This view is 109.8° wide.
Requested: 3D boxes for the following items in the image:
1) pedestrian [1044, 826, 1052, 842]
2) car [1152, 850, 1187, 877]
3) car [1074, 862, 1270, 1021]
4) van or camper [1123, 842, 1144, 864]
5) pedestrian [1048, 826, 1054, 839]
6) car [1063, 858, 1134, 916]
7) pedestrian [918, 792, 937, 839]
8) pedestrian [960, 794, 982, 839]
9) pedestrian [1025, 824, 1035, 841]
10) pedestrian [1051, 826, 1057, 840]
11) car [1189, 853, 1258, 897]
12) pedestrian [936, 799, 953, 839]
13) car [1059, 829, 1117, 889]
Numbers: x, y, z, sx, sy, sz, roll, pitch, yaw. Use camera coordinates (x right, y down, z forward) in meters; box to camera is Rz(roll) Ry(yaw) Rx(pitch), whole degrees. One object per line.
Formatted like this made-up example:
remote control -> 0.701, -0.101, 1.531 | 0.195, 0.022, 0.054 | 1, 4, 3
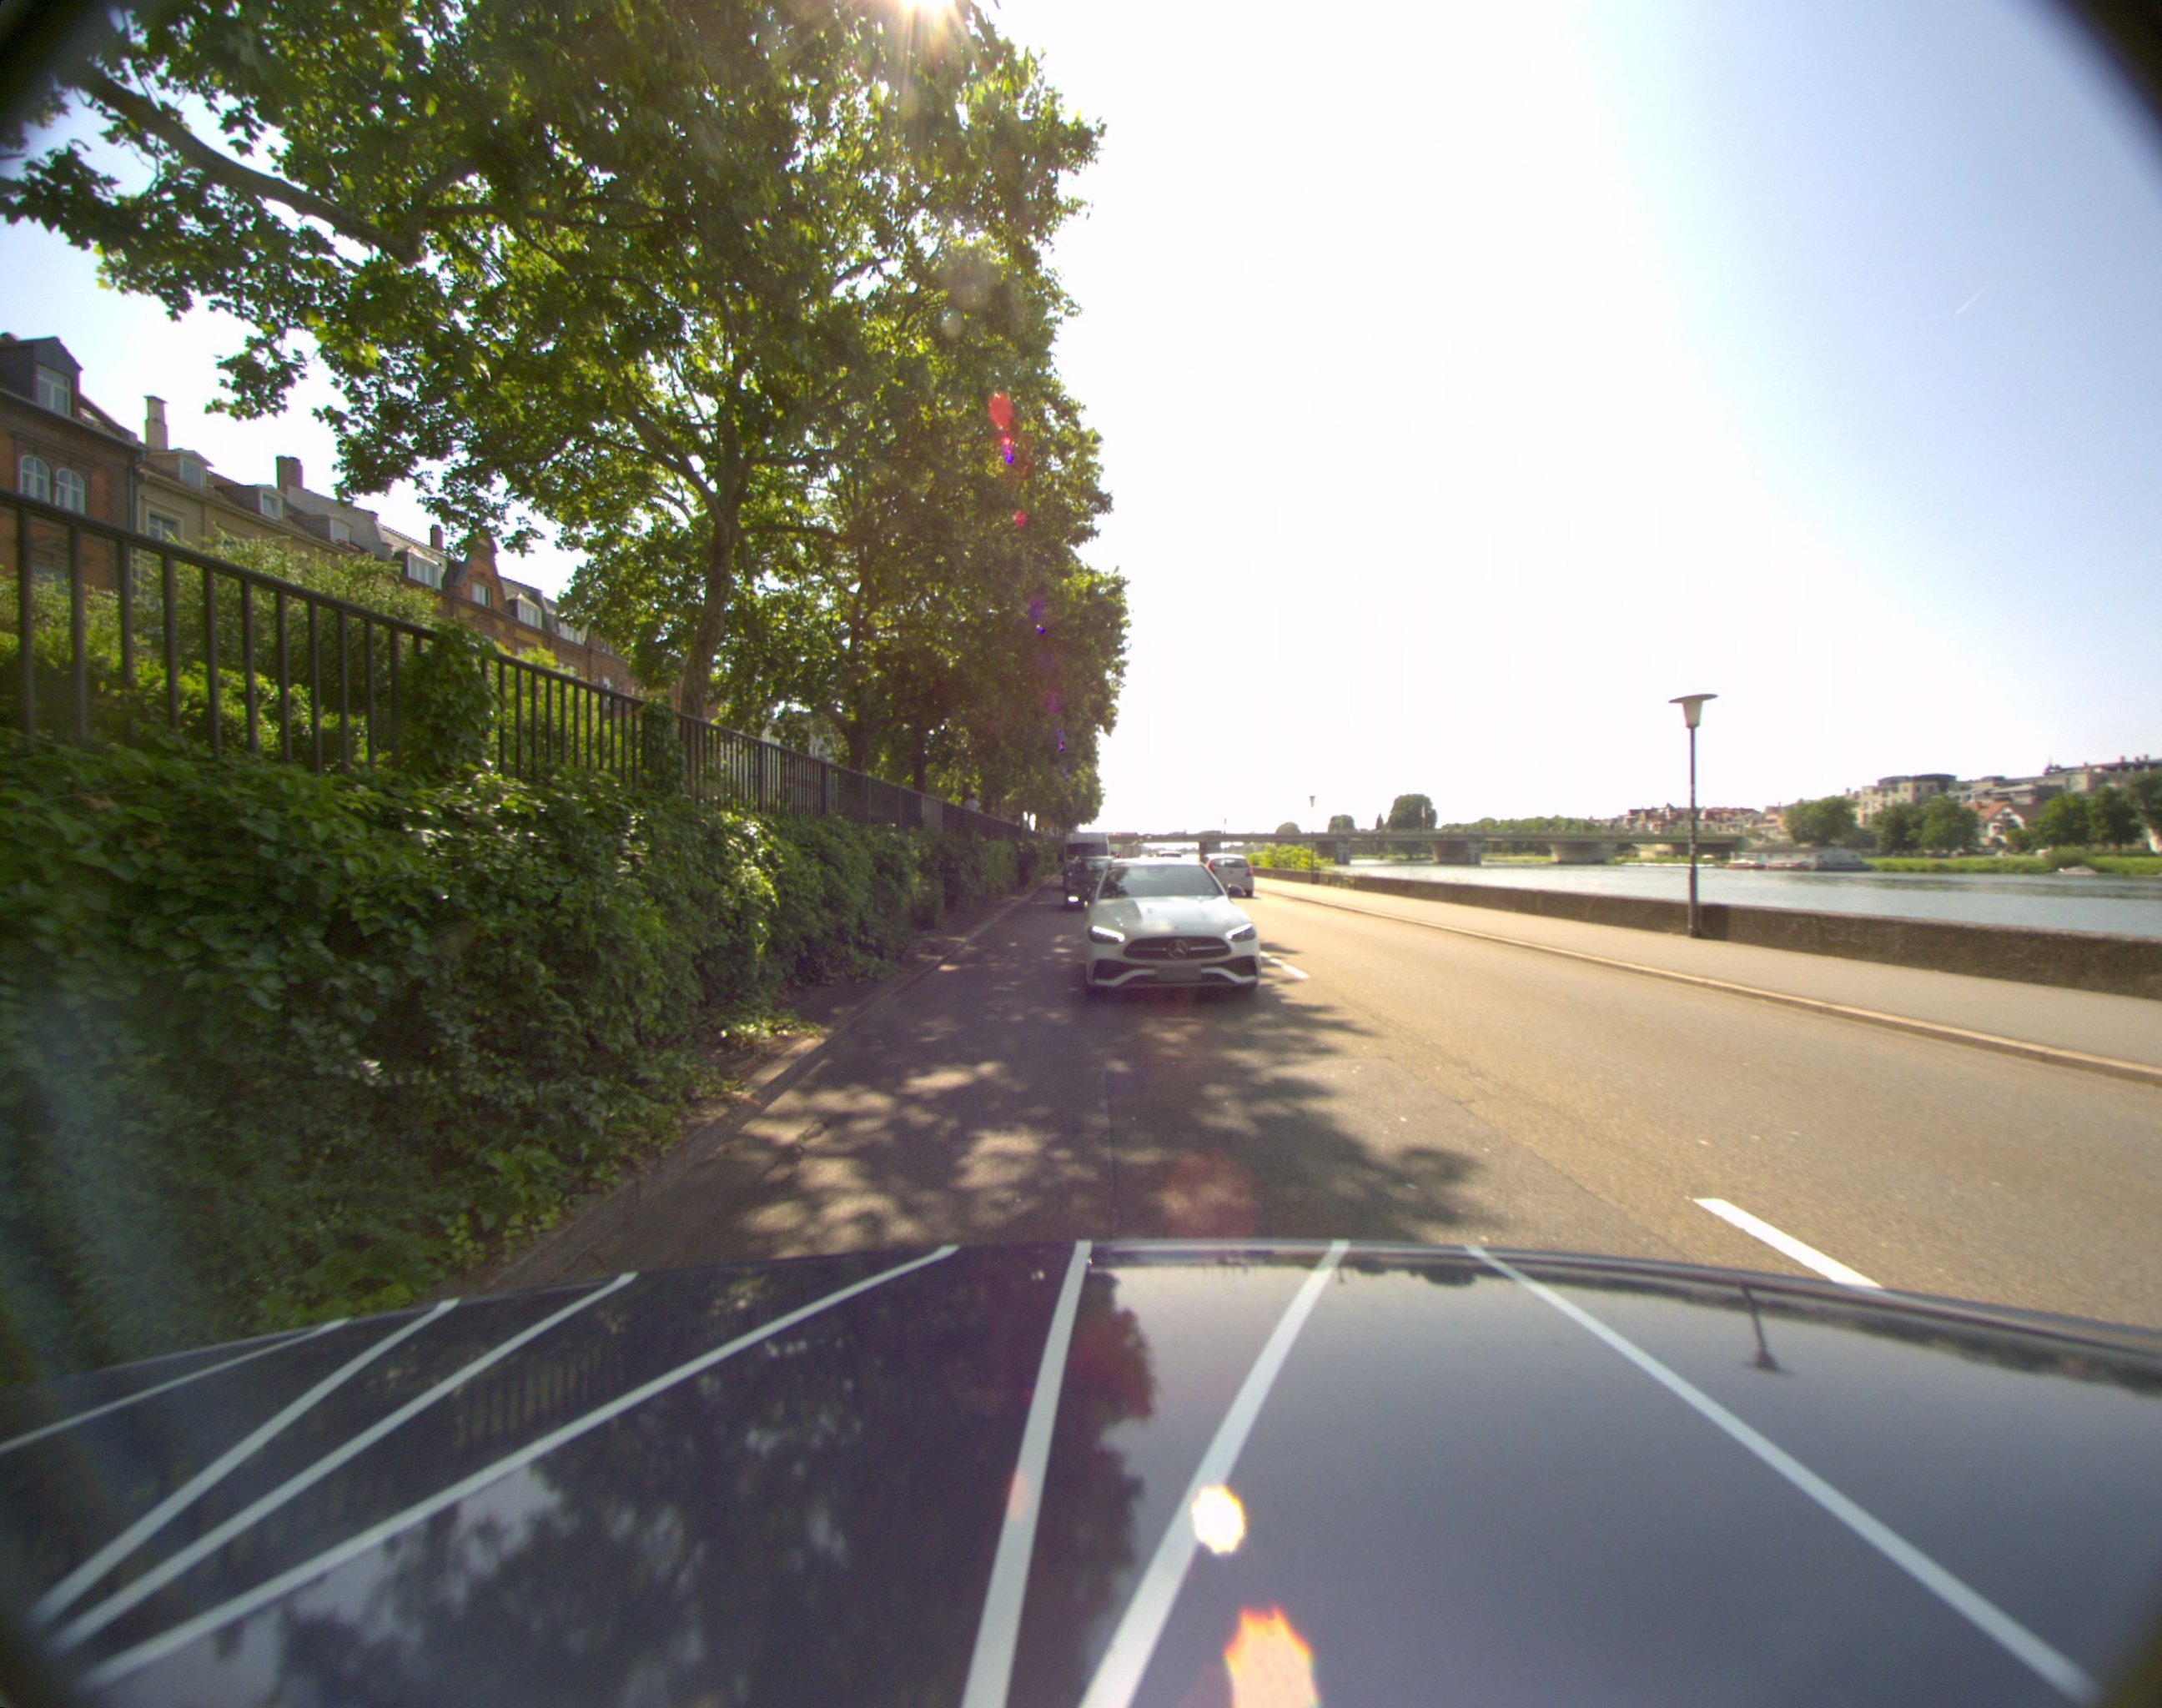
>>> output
pedestrian -> -3.493, -2.110, 80.317 | 0.738, 1.582, 0.810 | 0, 1, 0
car -> 5.647, 0.549, 48.950 | 1.736, 1.640, 4.176 | 1, 0, 0
car -> 0.891, 0.852, 9.472 | 1.830, 1.411, 4.552 | -1, 0, 1
van or camper -> 6.047, -0.127, 88.323 | 2.082, 2.384, 5.384 | 1, 0, 0
pedestrian -> -3.565, -2.536, 90.459 | 0.738, 1.582, 0.810 | 0, 1, 0
car -> 0.437, 0.833, 21.465 | 1.756, 1.385, 4.619 | -1, 0, 0
pedestrian -> -5.482, -1.362, 27.172 | 0.649, 1.631, 0.626 | 0, 1, -7
pedestrian -> -3.892, -1.317, 26.976 | 0.666, 1.582, 0.650 | 0, 1, 0
pedestrian -> -3.900, -1.652, 58.340 | 0.713, 1.236, 0.742 | 0, 1, 0
pedestrian -> -3.250, -2.538, 91.260 | 0.666, 1.582, 0.764 | 0, 1, 0
car -> 5.118, 0.713, 27.739 | 1.736, 1.433, 4.045 | 1, 0, 0
pedestrian -> -4.856, -1.236, 27.094 | 0.586, 1.411, 0.589 | 0, 1, -7
car -> 0.278, 0.194, 34.168 | 2.351, 2.429, 6.208 | 0, 0, 0
